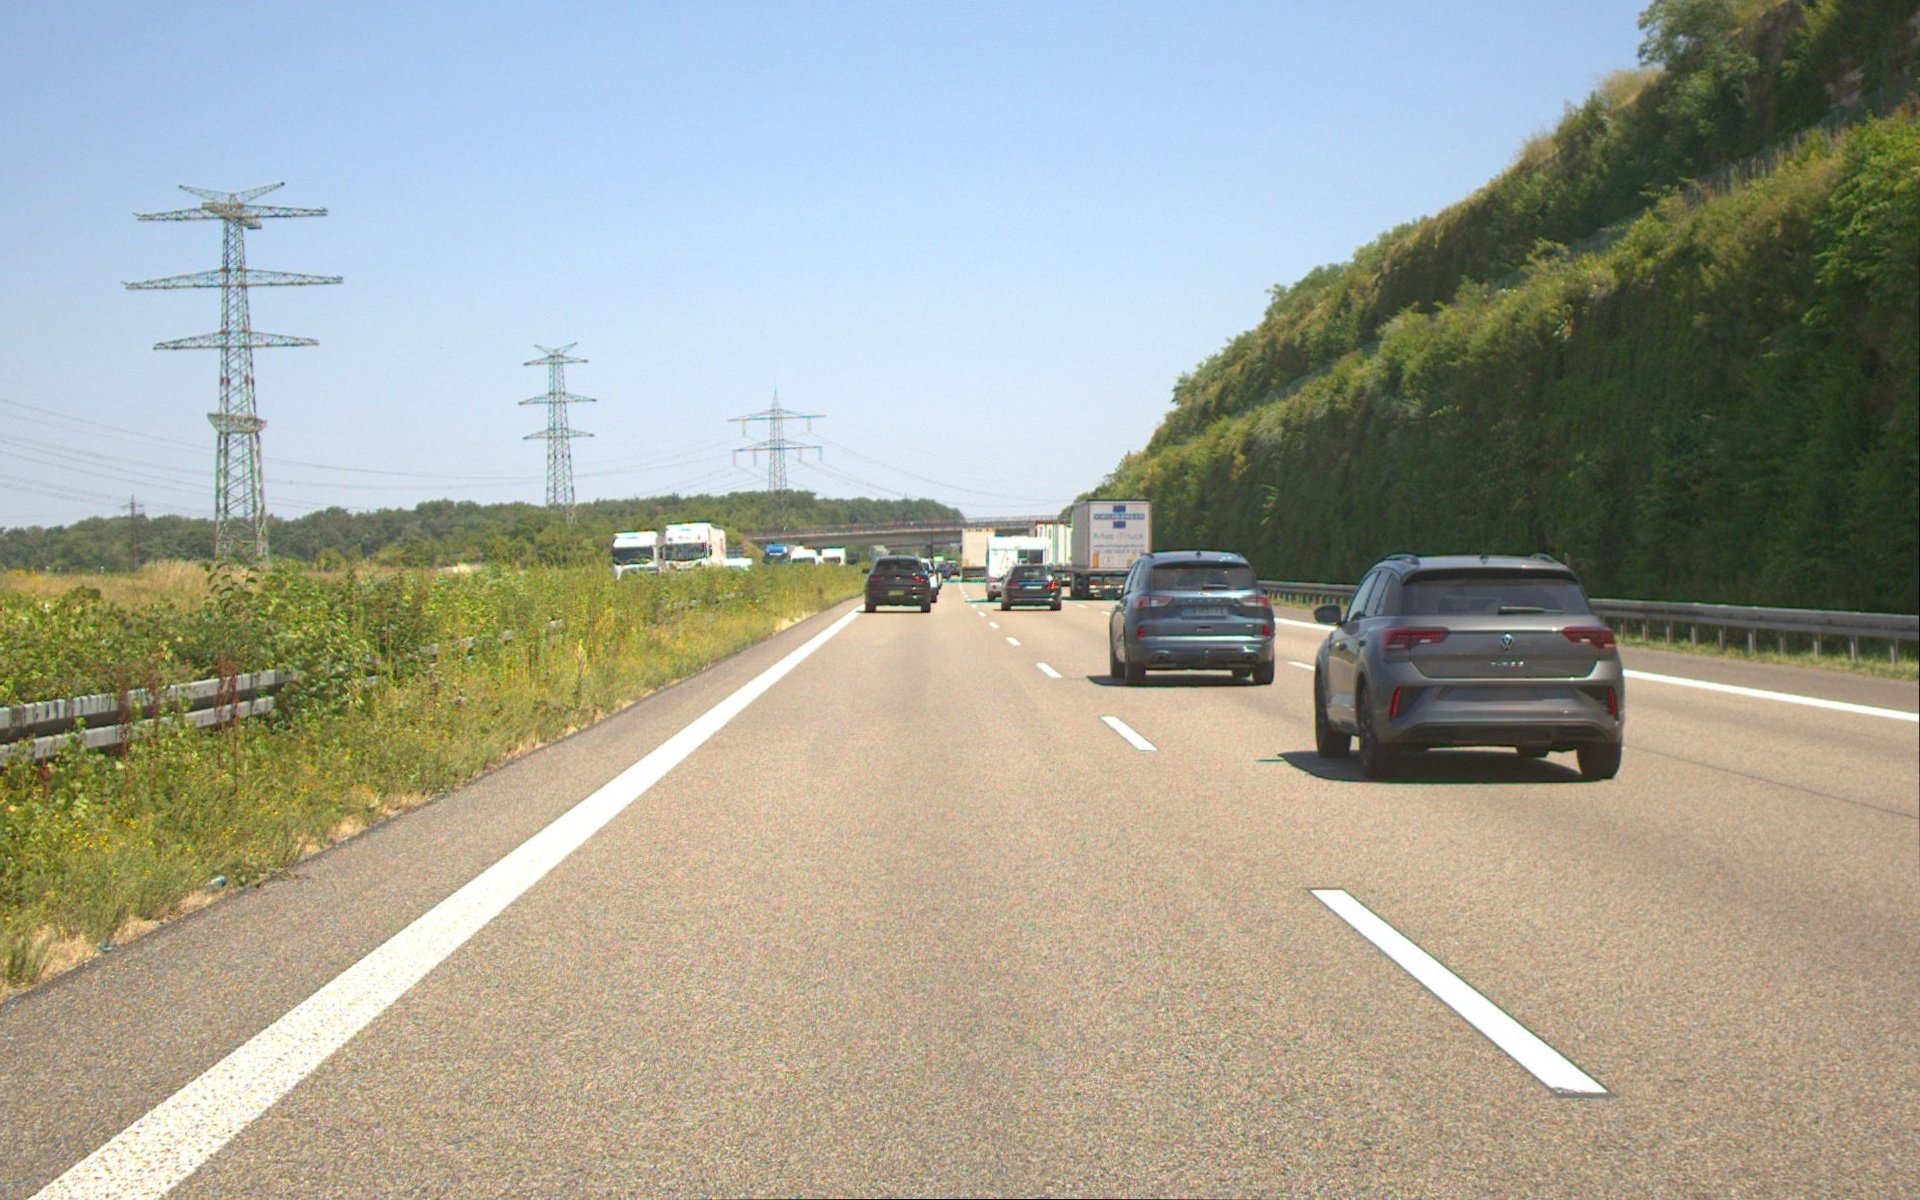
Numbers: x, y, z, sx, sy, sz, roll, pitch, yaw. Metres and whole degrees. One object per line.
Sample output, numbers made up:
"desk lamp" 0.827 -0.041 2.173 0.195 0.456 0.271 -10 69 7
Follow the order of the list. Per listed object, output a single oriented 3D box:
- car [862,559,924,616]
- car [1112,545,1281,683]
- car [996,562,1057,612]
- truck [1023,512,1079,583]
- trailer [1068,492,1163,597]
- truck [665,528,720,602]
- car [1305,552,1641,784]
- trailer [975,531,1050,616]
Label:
"car" -2.026 -0.404 104.488 1.830 1.665 4.000 -1 1 -1
"car" 2.922 0.142 43.198 1.794 1.647 4.138 0 1 0
"car" 2.088 -0.426 108.578 1.830 1.520 4.000 -1 1 0
"truck" 5.708 -3.301 217.572 3.119 4.265 11.934 -1 1 0
"trailer" 6.407 -2.278 143.581 3.183 4.107 13.432 -1 1 0
"truck" -15.114 -1.984 194.735 2.805 4.144 5.570 0 1 -1
"car" 3.614 0.431 24.871 1.749 1.520 3.995 -1 1 -1
"trailer" 2.027 -1.078 135.928 2.610 3.202 9.953 -1 1 -1
